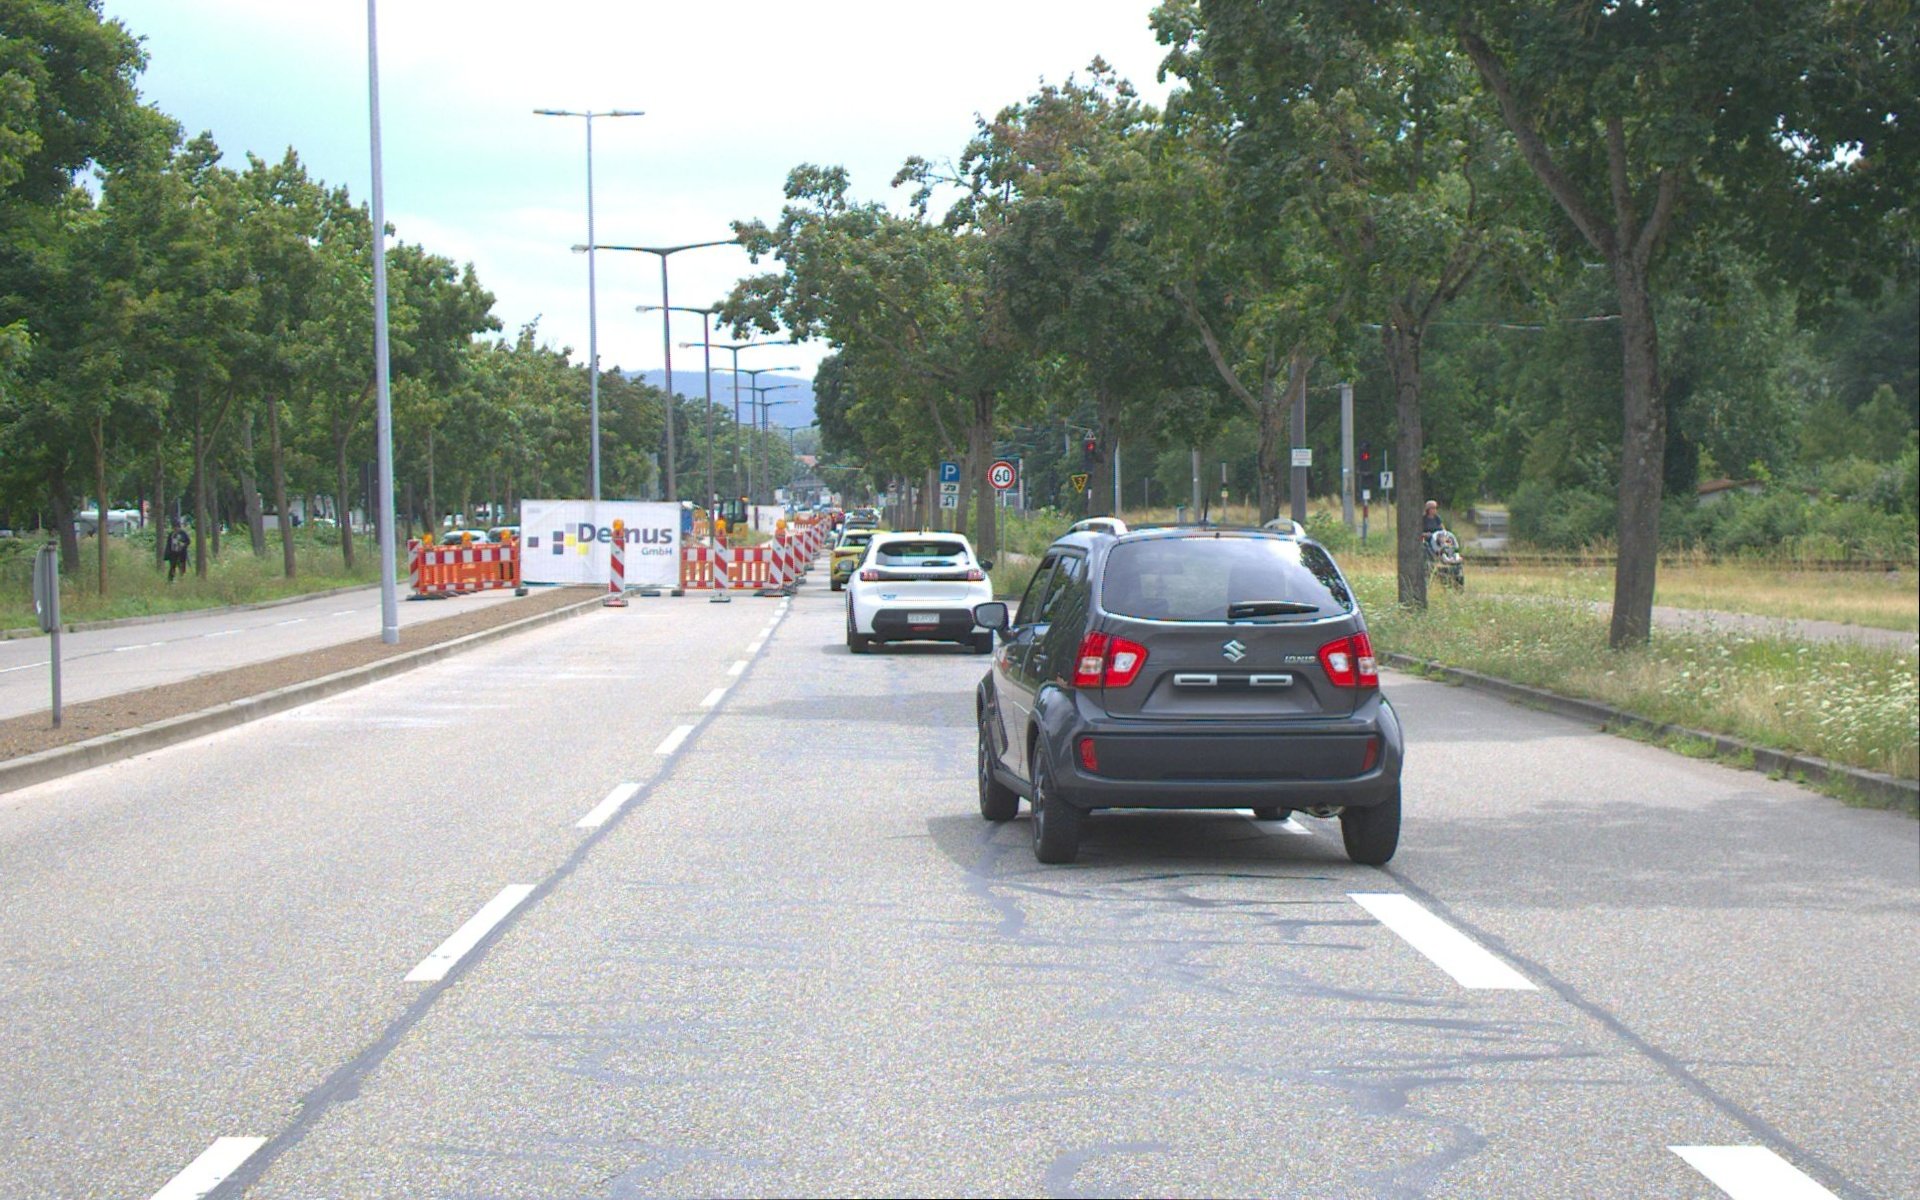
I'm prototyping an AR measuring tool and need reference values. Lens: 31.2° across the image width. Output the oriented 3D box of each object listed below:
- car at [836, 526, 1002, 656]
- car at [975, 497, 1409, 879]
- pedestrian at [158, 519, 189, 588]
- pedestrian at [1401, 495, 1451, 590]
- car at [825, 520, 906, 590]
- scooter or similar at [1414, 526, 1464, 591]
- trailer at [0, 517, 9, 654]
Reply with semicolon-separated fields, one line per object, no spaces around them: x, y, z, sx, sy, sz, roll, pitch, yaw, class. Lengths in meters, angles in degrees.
-0.554;-0.149;42.250;1.766;1.459;4.001;-1;2;-4;car
1.028;0.327;17.049;1.703;1.662;4.001;0;2;-3;car
-21.108;-1.256;92.248;0.690;1.832;0.651;-1;2;-23;pedestrian
8.406;-1.046;62.060;0.690;1.689;0.934;-1;2;-6;pedestrian
-2.212;-1.089;81.281;1.793;1.556;4.000;-1;2;0;car
8.511;-0.744;61.126;0.681;1.126;0.934;-1;2;-6;scooter or similar
-12.847;-0.107;40.597;2.062;1.684;3.895;-2;1;1;trailer
